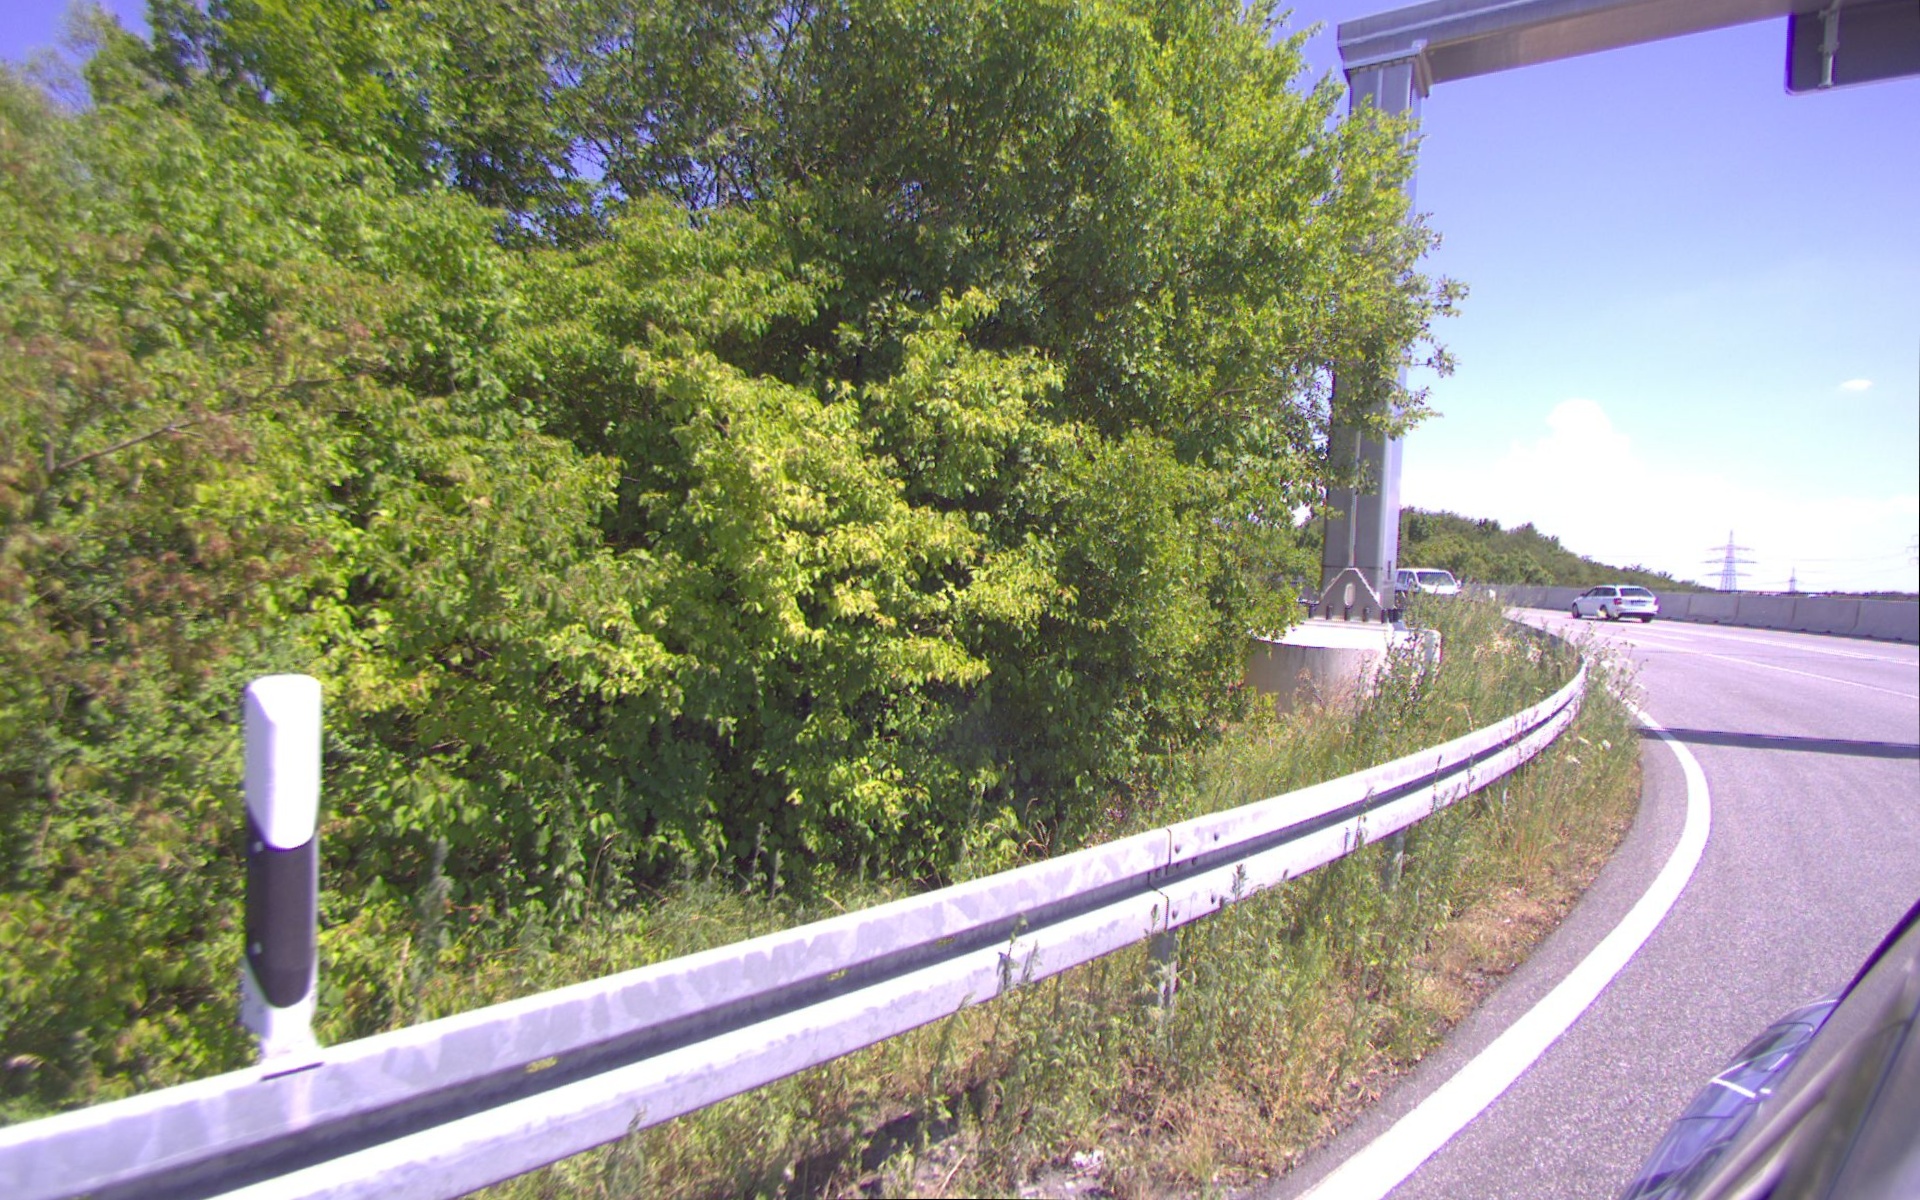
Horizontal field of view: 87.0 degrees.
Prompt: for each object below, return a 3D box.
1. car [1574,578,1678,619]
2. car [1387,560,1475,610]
[{"bbox_3d":[27.384,-0.115,41.779,1.763,1.513,4.541,2,2,9],"label":"car"},{"bbox_3d":[21.681,-0.723,46.874,1.998,2.110,5.859,1,1,8],"label":"car"}]
